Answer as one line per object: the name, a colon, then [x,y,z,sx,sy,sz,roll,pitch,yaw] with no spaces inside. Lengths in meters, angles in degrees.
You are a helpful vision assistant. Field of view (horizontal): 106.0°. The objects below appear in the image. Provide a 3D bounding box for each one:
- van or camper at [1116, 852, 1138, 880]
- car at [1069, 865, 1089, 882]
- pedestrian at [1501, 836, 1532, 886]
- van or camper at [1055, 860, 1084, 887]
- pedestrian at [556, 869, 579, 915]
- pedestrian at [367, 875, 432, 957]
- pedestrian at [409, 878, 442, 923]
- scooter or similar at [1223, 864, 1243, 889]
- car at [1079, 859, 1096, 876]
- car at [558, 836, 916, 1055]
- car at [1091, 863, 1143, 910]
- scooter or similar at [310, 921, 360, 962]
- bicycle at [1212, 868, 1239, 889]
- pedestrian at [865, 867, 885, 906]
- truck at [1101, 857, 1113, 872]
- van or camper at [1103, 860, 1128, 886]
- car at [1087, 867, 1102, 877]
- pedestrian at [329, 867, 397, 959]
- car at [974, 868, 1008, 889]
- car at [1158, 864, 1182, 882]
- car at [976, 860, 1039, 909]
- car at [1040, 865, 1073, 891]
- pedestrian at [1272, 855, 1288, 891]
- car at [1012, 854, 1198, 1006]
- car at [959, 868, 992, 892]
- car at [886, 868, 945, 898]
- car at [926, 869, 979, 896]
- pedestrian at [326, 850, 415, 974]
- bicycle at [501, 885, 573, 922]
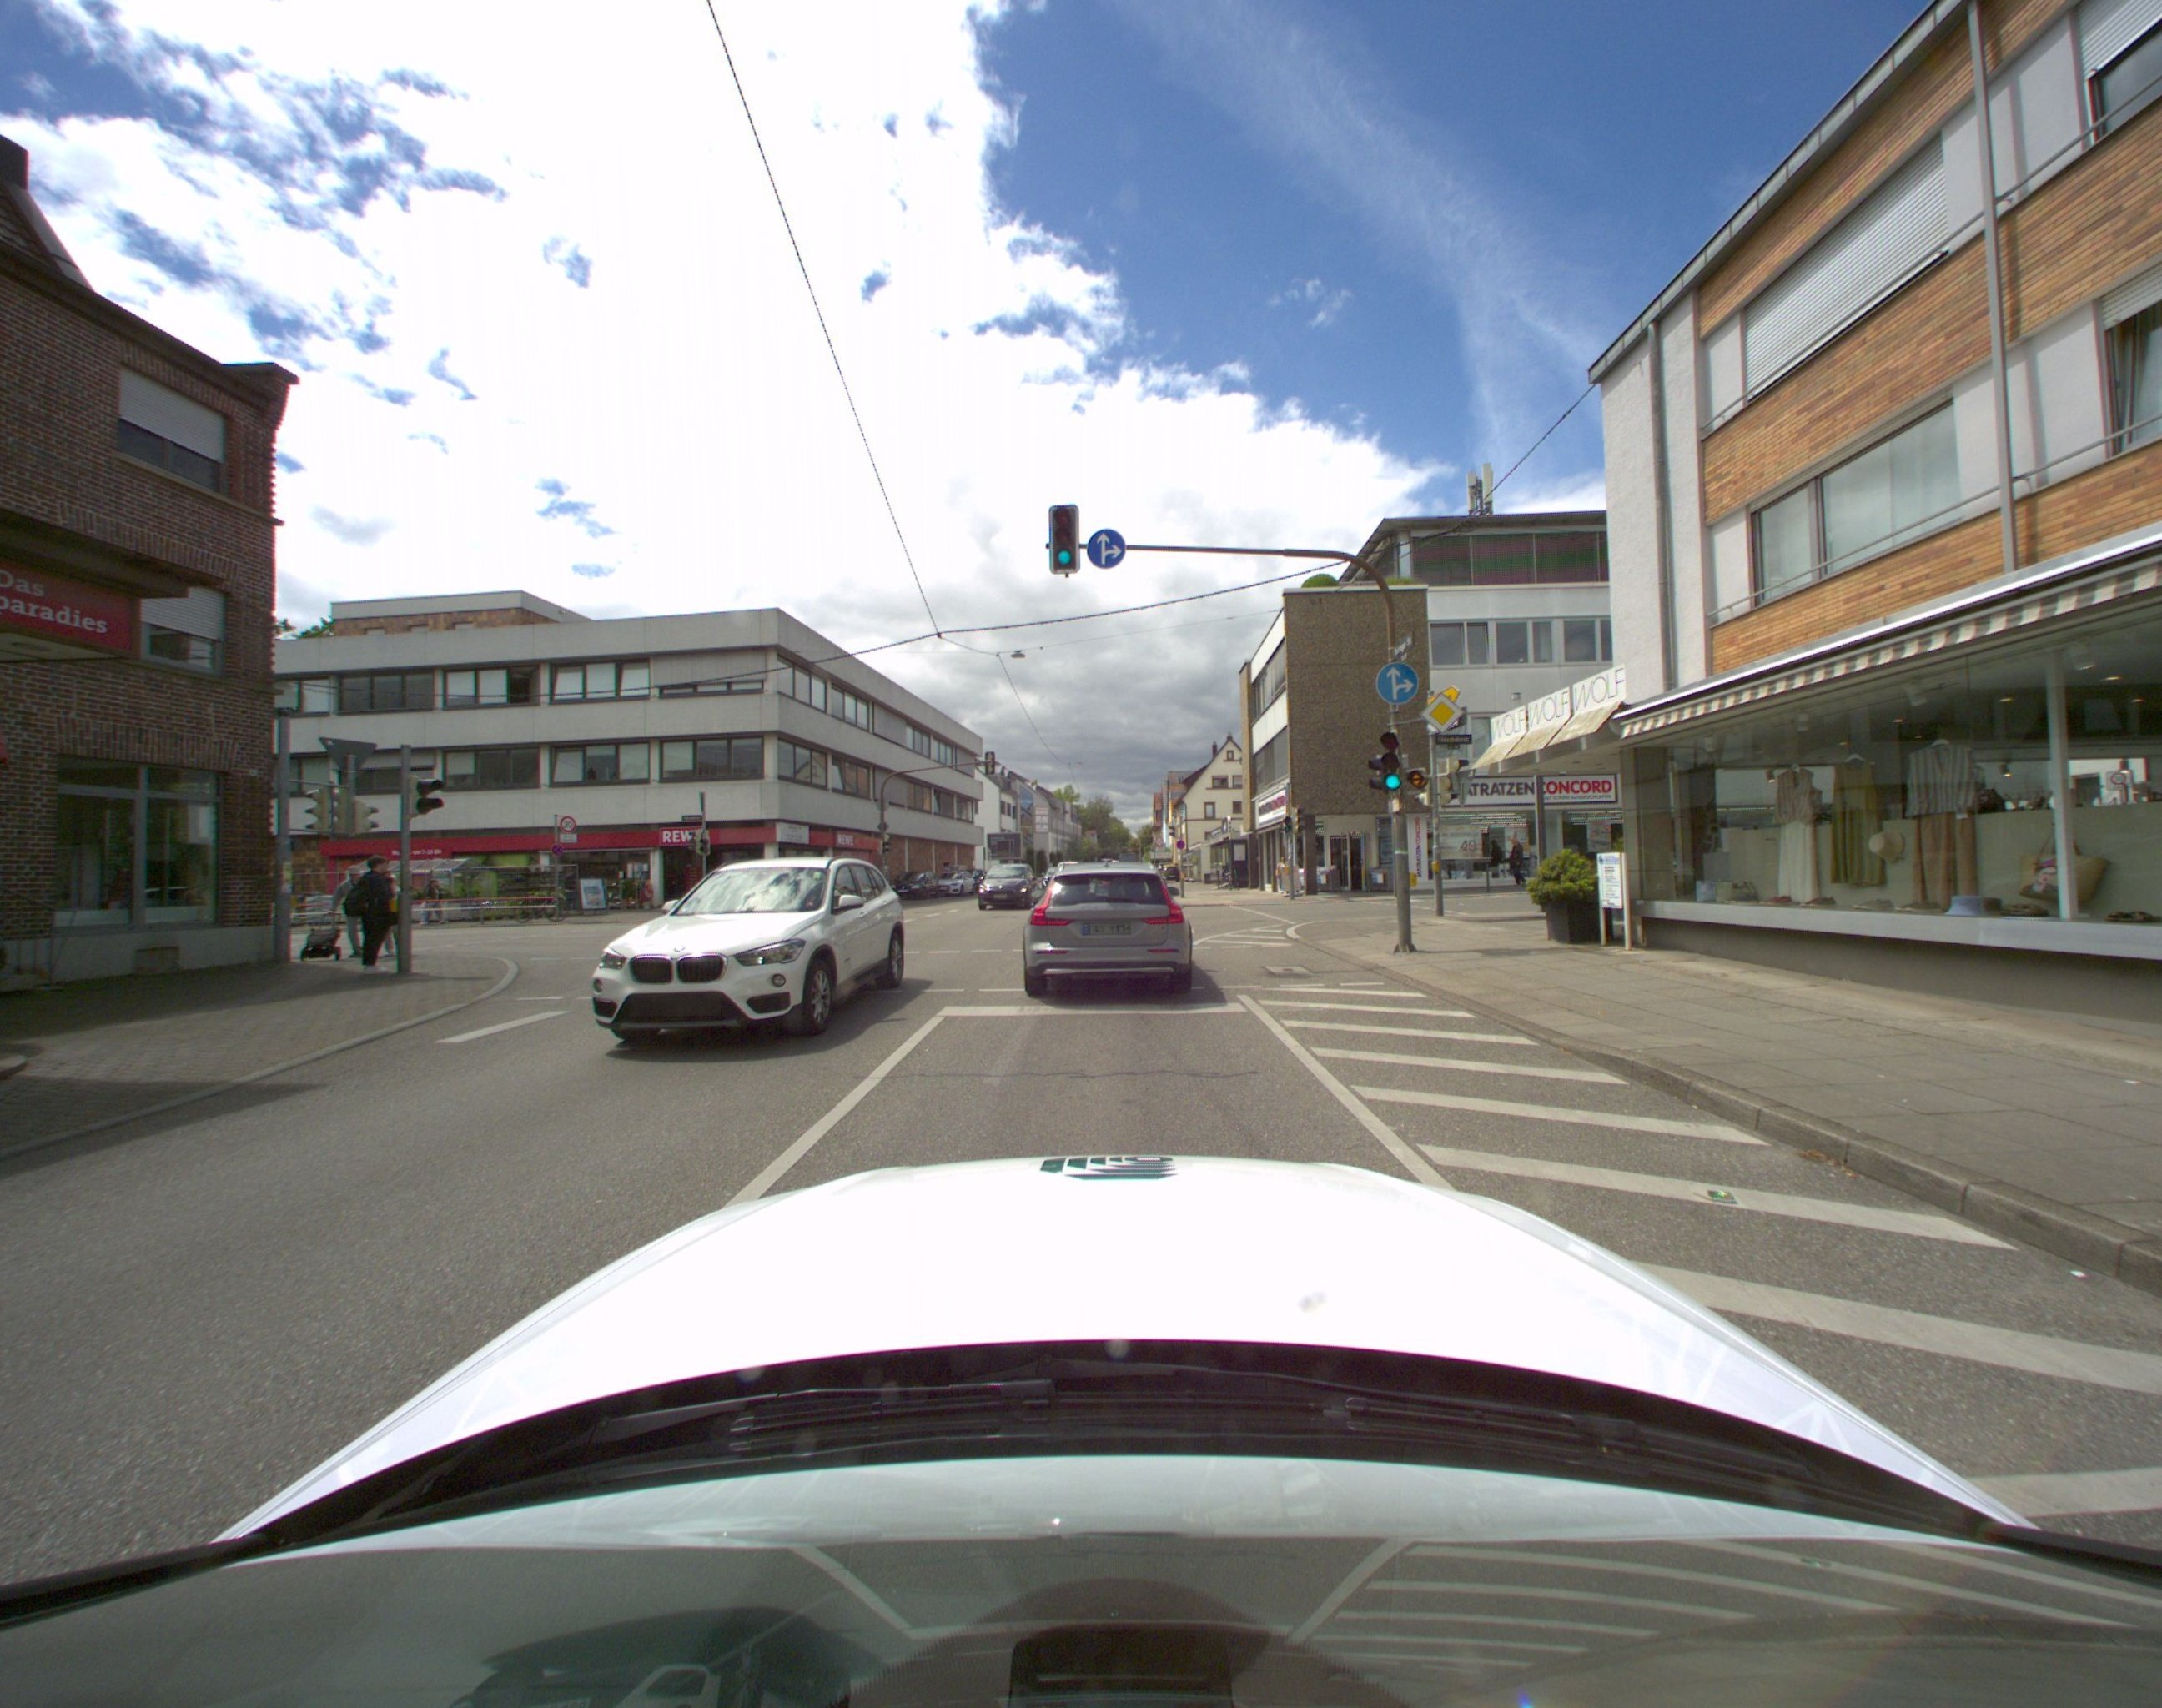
van or camper: [4.653,1.228,82.709,2.114,2.686,4.785,-2,-1,3]
car: [-0.172,1.871,77.947,1.661,1.554,4.218,-1,-1,3]
pedestrian: [15.115,0.248,28.261,0.582,1.706,0.614,-4,-1,-30]
van or camper: [-0.852,1.468,61.542,1.857,1.898,4.695,-1,0,2]
pedestrian: [-19.953,1.478,31.669,0.623,1.776,0.551,1,-3,-23]
pedestrian: [-12.676,1.141,15.166,0.522,1.485,0.761,0,-3,0]
pedestrian: [-23.403,1.646,29.095,0.726,1.597,0.691,1,-3,-24]
scooter or similar: [7.991,1.205,42.943,0.342,1.253,1.236,-3,-2,-23]
car: [0.764,1.621,93.977,1.831,1.917,4.157,-1,-1,2]
car: [-3.134,0.747,8.504,1.774,1.640,4.222,-3,-1,2]
car: [1.228,1.098,28.092,1.644,1.482,3.609,-1,-1,2]
scooter or similar: [-13.126,1.532,14.342,0.380,0.646,0.804,-3,-2,-22]
bicycle: [8.084,1.377,45.746,0.555,1.144,2.288,-2,-1,-15]
pedestrian: [-8.852,1.406,35.087,0.616,1.641,0.661,-2,-1,3]
truck: [5.468,2.196,170.761,2.266,2.887,7.085,-2,-1,3]
van or camper: [2.603,1.472,62.329,1.812,1.835,4.001,-1,-3,2]
car: [2.018,2.670,123.338,1.753,1.426,4.008,-2,-1,7]
pedestrian: [-13.240,1.074,15.034,0.522,1.659,0.761,0,-3,0]
car: [-6.591,1.763,60.005,1.747,1.426,3.867,-2,-1,5]
car: [7.714,1.671,70.686,1.705,1.464,3.999,0,-2,1]
car: [-2.551,1.061,29.260,1.783,1.590,4.100,-2,-1,1]
car: [-1.452,1.435,49.791,1.676,1.497,3.970,-2,-1,3]
pedestrian: [8.223,0.790,33.662,0.500,1.459,0.502,-5,-2,15]
car: [0.312,0.770,10.147,1.829,1.486,4.002,-1,0,2]
car: [-6.909,1.679,53.643,1.600,1.543,2.947,0,-1,3]
car: [-8.496,1.486,42.155,1.776,1.464,4.093,0,-1,6]
car: [-7.482,1.625,47.757,1.894,1.443,4.451,0,-1,7]
pedestrian: [-10.589,0.853,12.157,0.623,1.797,0.720,0,-3,0]
bicycle: [-19.023,1.715,28.513,1.880,1.142,0.774,-3,-2,-8]
